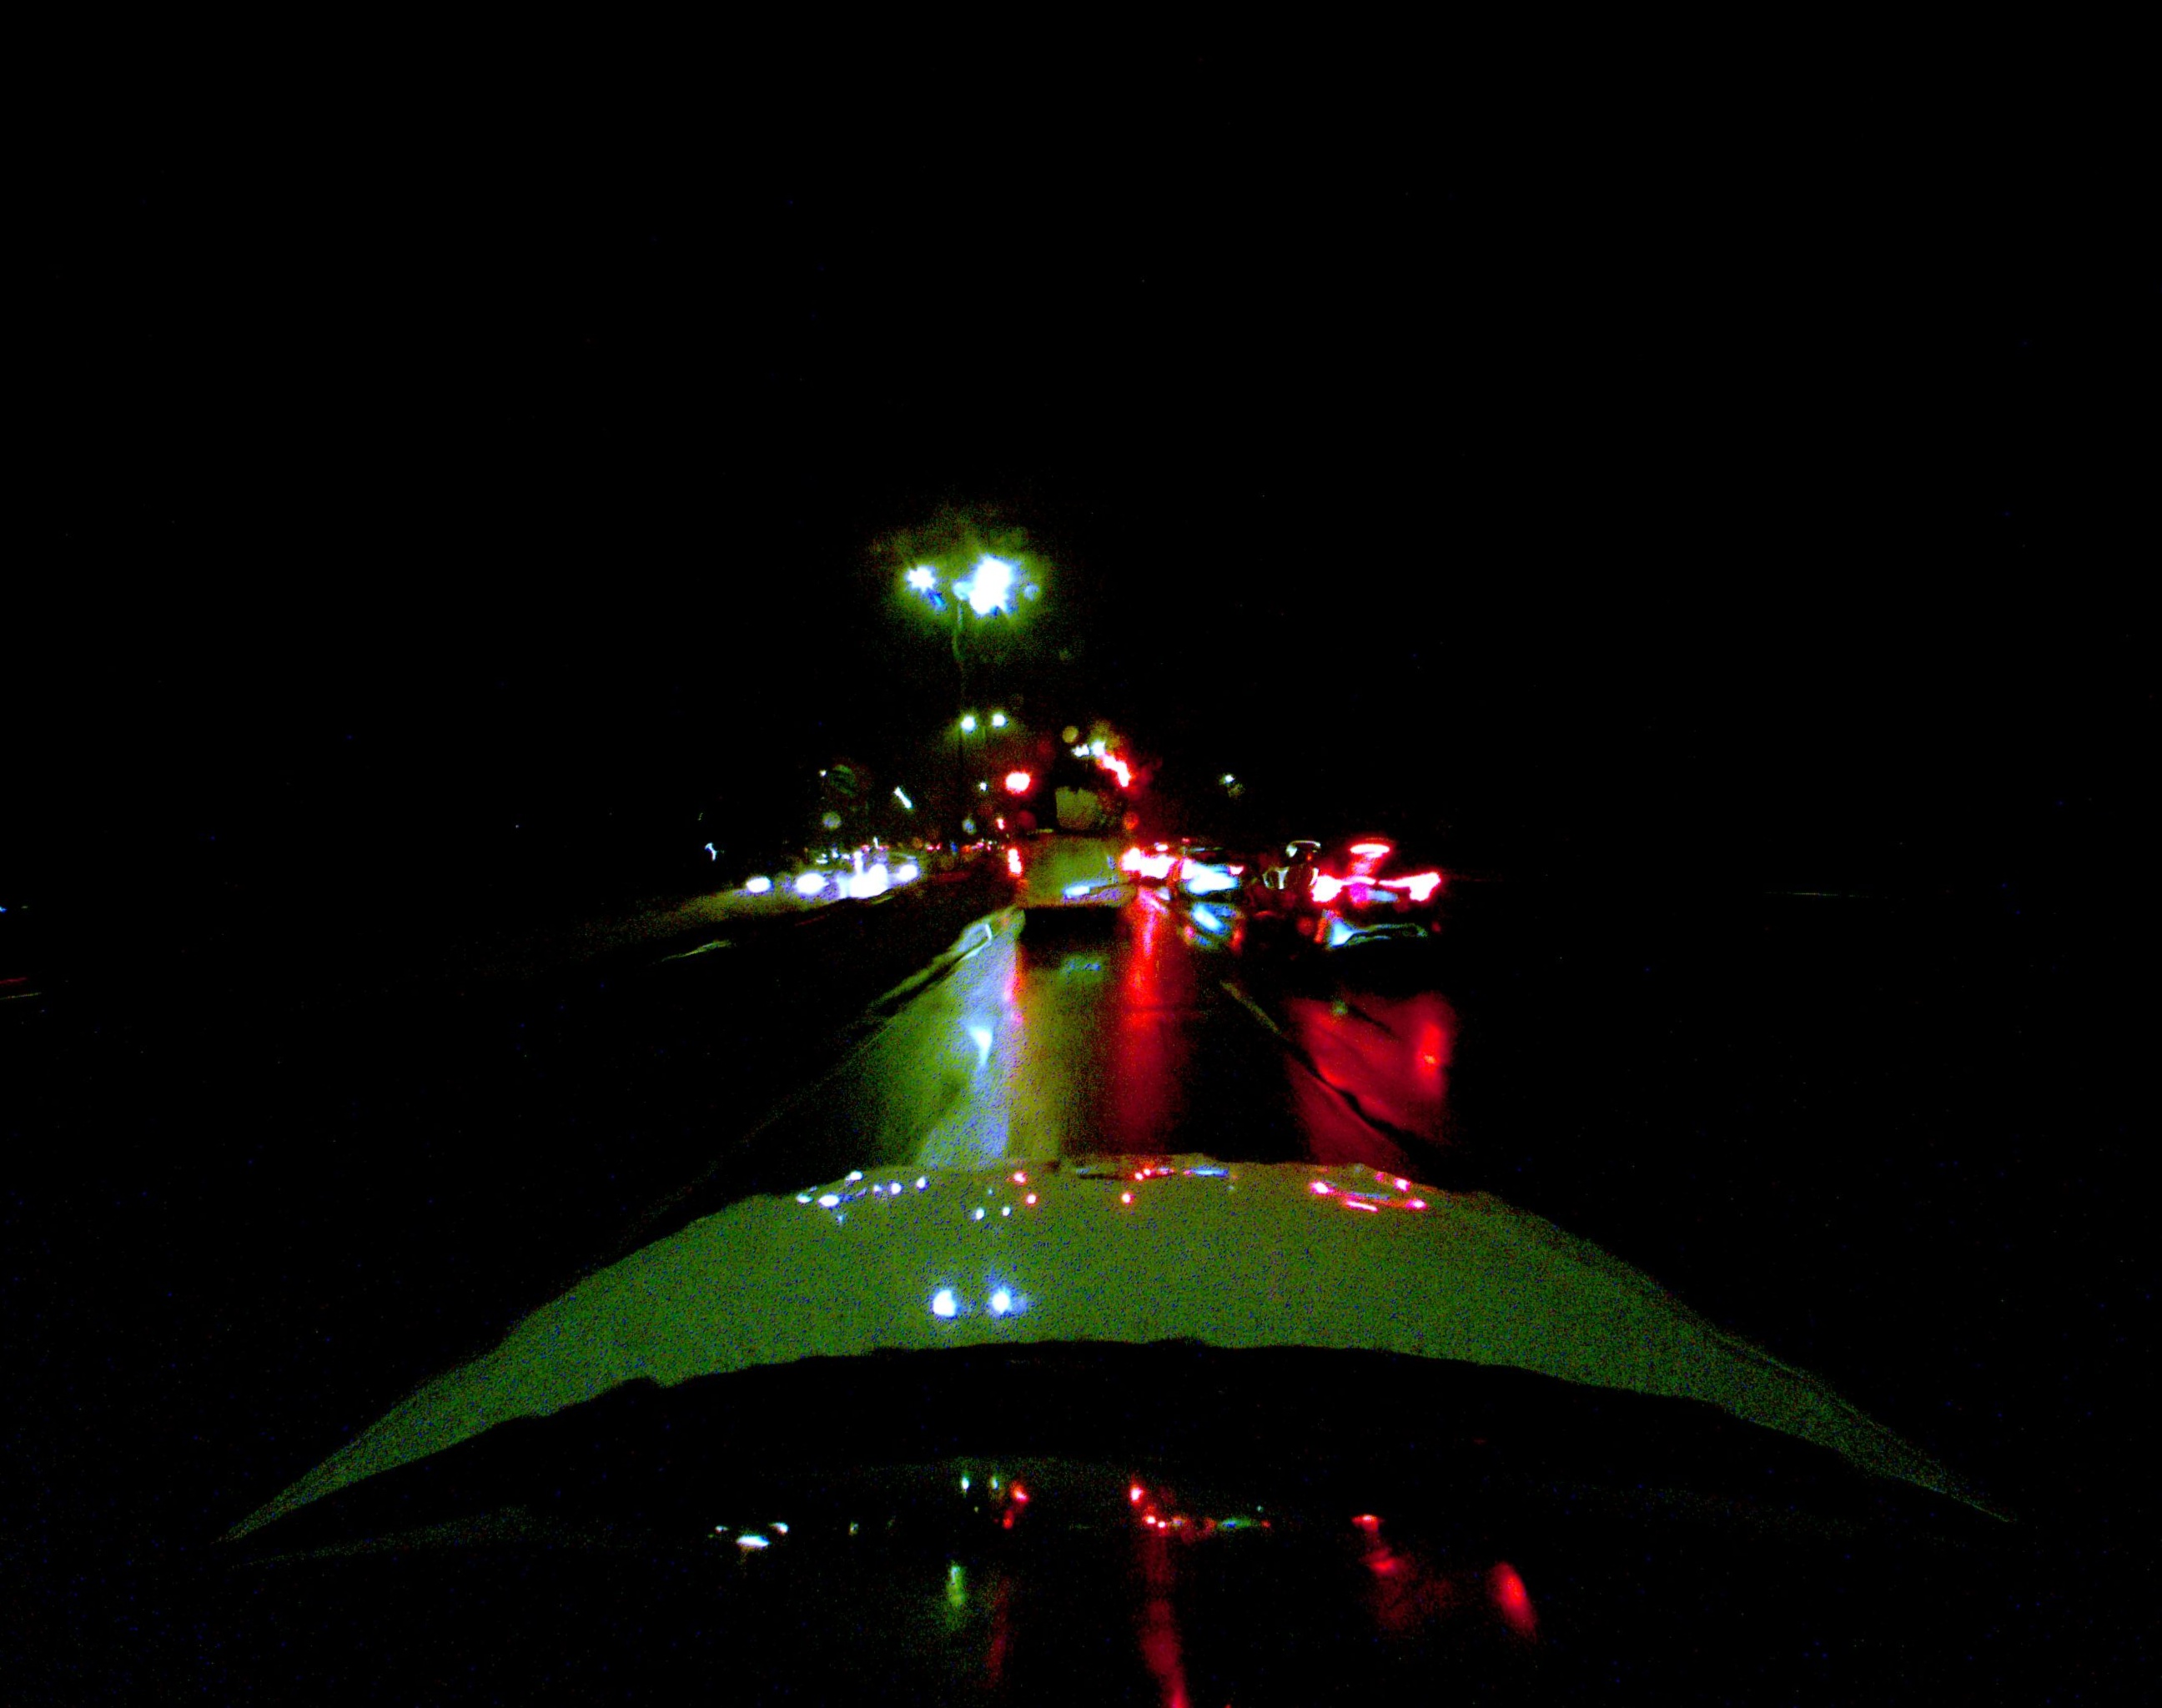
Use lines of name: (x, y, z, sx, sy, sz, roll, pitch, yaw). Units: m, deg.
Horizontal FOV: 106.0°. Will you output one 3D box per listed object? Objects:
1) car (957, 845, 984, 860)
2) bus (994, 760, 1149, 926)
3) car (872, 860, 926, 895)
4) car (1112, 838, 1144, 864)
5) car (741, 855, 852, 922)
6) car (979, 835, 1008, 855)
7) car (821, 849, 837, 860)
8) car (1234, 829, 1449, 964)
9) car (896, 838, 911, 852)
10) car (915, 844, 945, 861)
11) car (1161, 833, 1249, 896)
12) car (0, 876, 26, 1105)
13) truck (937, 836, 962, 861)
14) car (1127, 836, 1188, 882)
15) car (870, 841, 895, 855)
car: (-12.524, -0.152, 92.180, 1.762, 1.631, 3.589, 0, 0, -29)
bus: (-0.192, -0.241, 19.389, 2.807, 3.024, 8.685, -1, 0, 0)
car: (-8.981, 1.107, 40.536, 1.812, 1.394, 4.456, -6, 1, -3)
car: (2.983, -0.191, 52.030, 1.774, 1.543, 3.874, -1, 0, -1)
car: (-8.207, 0.925, 23.879, 1.804, 1.568, 3.997, -6, 1, -2)
car: (-9.072, -0.931, 84.353, 2.002, 2.013, 3.970, 0, 0, -22)
car: (-40.845, 0.069, 131.983, 2.003, 1.686, 3.969, 1, 1, -24)
car: (3.436, 0.484, 11.507, 1.735, 1.564, 3.774, -1, 0, -2)
car: (-26.448, -1.293, 121.509, 2.123, 2.013, 3.984, 0, 0, -12)
car: (-18.933, -0.134, 102.331, 2.228, 2.013, 3.957, -2, 1, -35)
car: (3.458, 0.253, 23.351, 1.815, 1.590, 3.774, -2, 1, -2)
car: (-8.042, 0.993, 3.501, 1.564, 1.542, 4.158, -5, 0, -3)
truck: (-14.407, -0.661, 89.265, 1.861, 2.392, 4.750, -4, 4, -18)
car: (2.868, 0.147, 31.224, 1.815, 1.590, 3.774, -2, 1, -2)
car: (-28.144, -0.810, 115.525, 2.009, 2.013, 3.955, 0, 0, -37)
